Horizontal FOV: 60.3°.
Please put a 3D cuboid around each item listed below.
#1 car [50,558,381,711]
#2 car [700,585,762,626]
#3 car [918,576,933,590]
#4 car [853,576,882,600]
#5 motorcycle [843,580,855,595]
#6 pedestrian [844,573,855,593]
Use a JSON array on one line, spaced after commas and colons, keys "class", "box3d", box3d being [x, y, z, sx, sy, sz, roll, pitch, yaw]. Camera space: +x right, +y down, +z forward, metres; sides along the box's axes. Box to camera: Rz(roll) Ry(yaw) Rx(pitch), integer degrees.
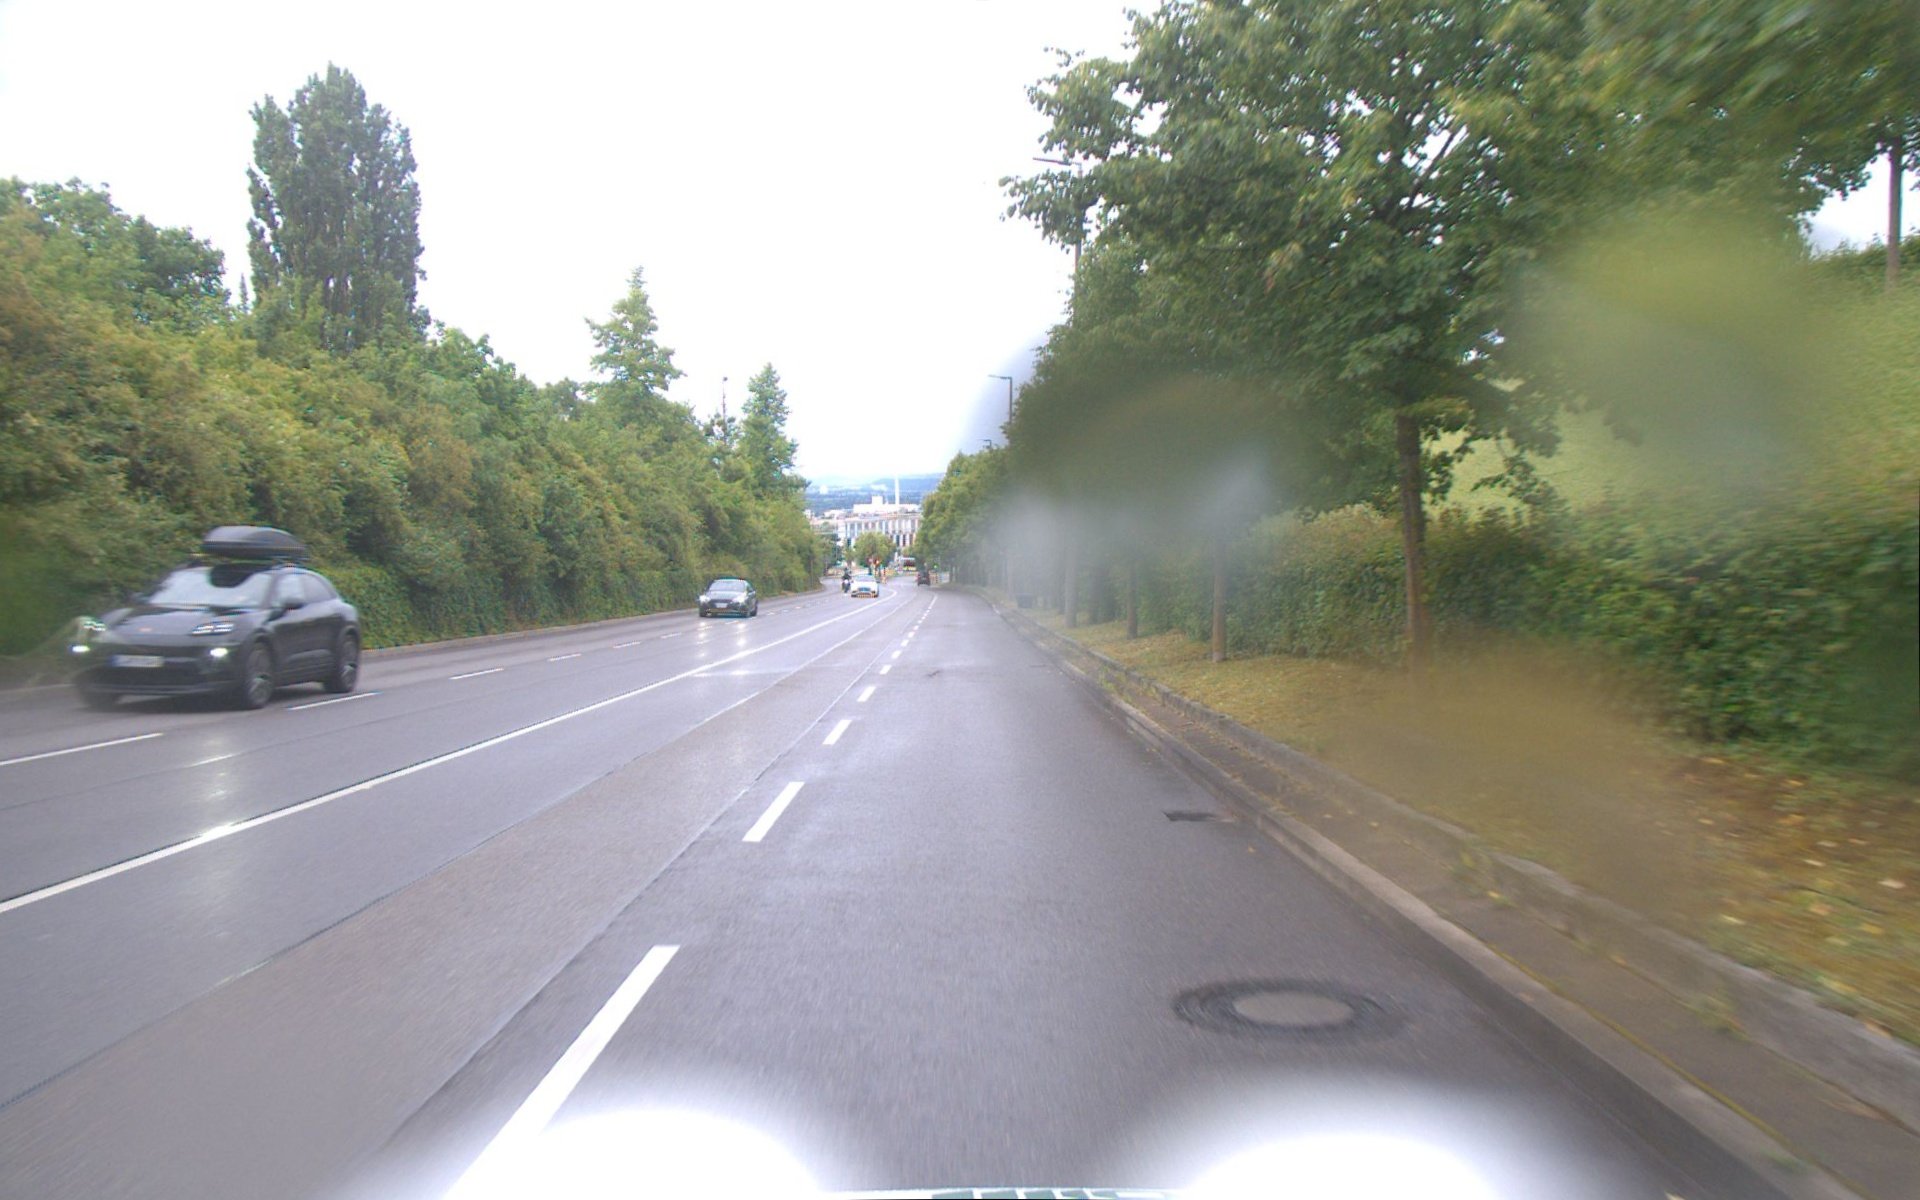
[{"class": "car", "box3d": [-8.773, 0.358, 20.002, 1.860, 1.580, 4.630, 2, 0, 0]}, {"class": "car", "box3d": [-8.740, 0.197, 63.440, 1.724, 1.405, 4.838, 2, 1, 0]}, {"class": "car", "box3d": [-4.434, -2.211, 213.036, 1.812, 1.731, 3.791, 2, -1, -2]}, {"class": "car", "box3d": [-6.427, -0.853, 115.223, 1.680, 1.531, 4.516, 2, 1, 0]}, {"class": "motorcycle", "box3d": [-9.005, -1.027, 134.363, 0.789, 1.151, 2.231, 1, 0, 0]}, {"class": "pedestrian", "box3d": [-8.997, -1.393, 134.367, 0.789, 1.568, 1.111, 1, 0, 0]}]
